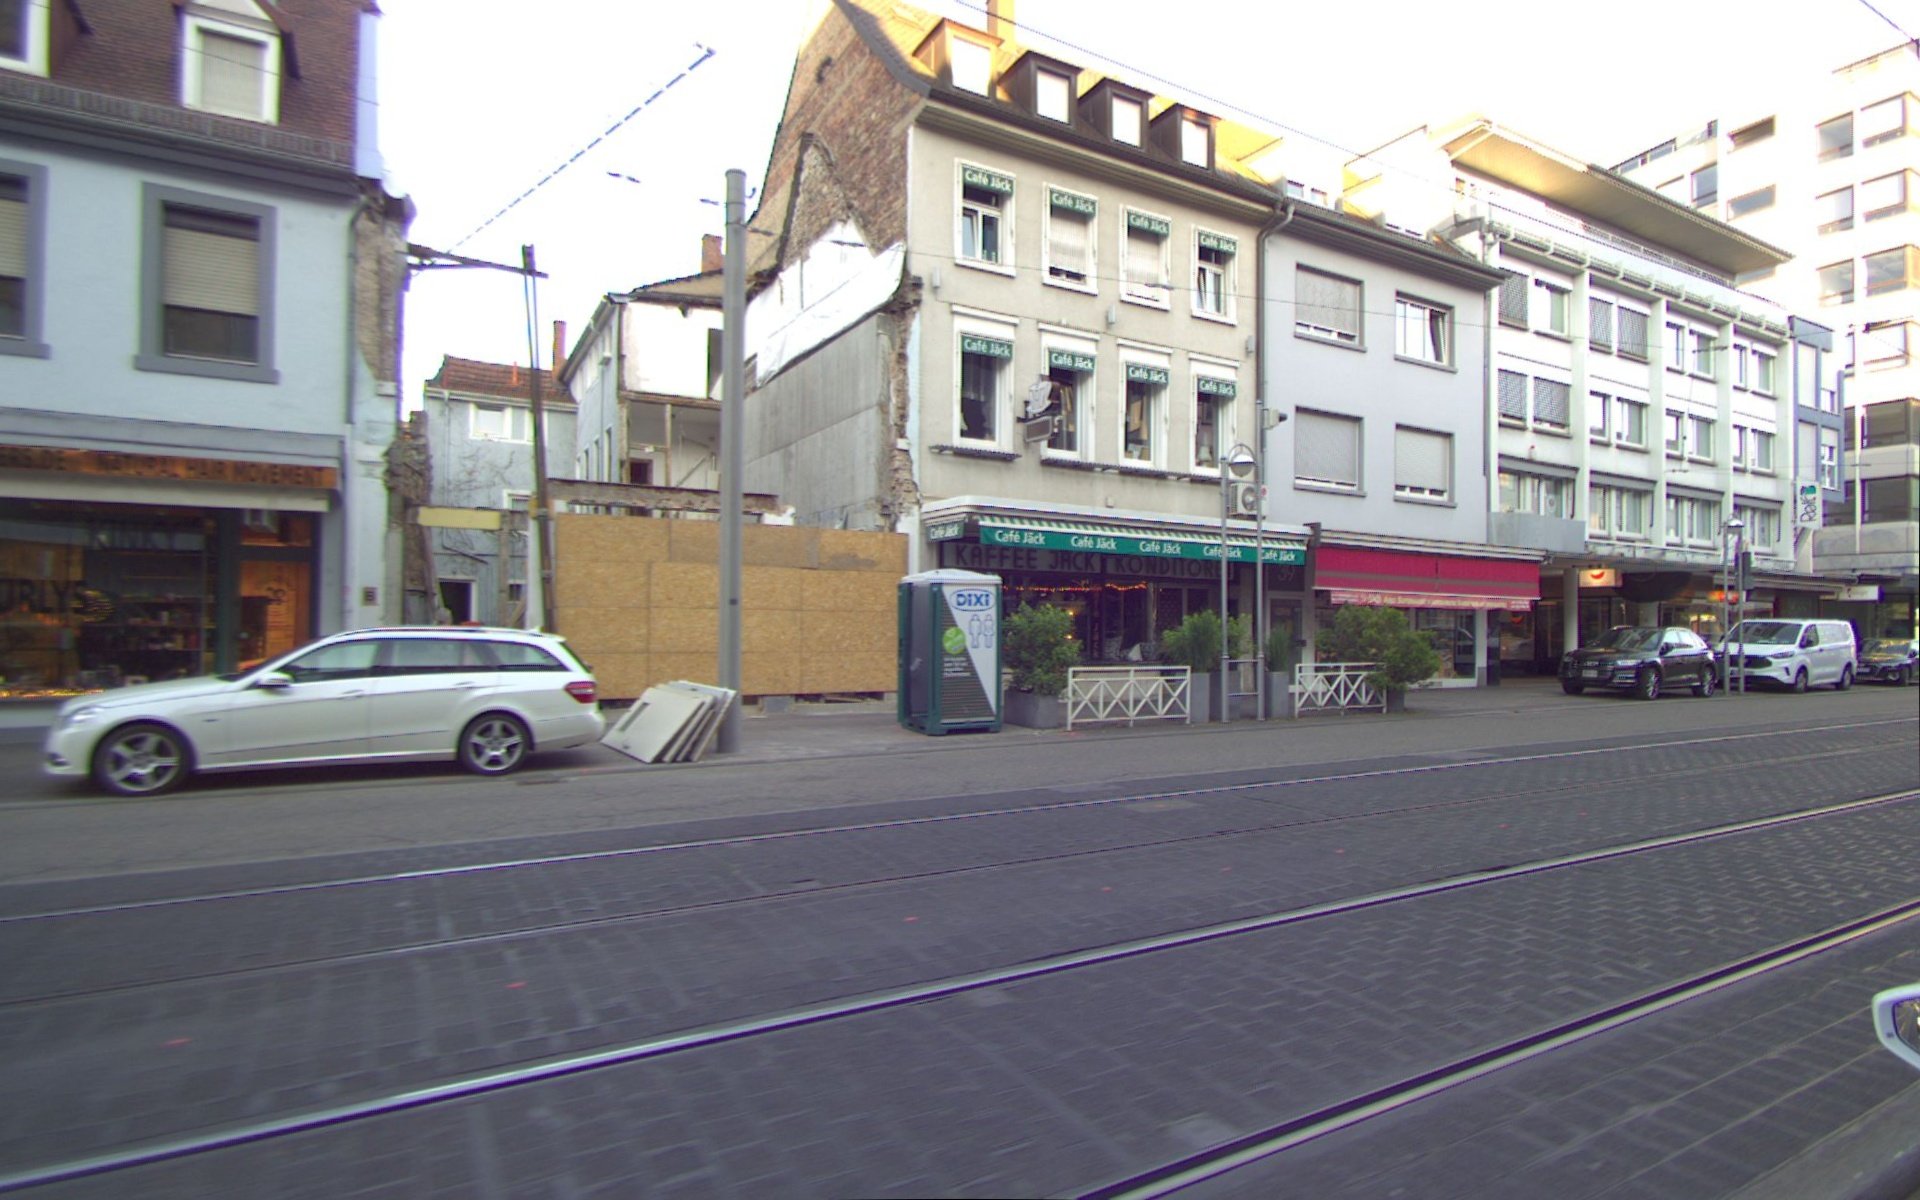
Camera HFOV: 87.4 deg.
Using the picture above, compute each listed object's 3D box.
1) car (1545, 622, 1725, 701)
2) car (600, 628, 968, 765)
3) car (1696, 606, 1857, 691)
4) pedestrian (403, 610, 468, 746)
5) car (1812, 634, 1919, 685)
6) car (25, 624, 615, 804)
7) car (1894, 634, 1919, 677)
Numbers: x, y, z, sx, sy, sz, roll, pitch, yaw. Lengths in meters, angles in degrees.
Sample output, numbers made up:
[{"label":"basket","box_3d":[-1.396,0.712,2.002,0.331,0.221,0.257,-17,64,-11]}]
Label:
[{"label":"car","box_3d":[16.286,1.425,24.192,4.412,1.700,1.851,1,0,-30]},{"label":"car","box_3d":[-2.239,1.124,12.975,4.277,1.472,1.985,1,-1,-29]},{"label":"car","box_3d":[22.922,1.328,28.155,4.854,2.185,1.984,1,-1,-31]},{"label":"pedestrian","box_3d":[-6.669,0.967,12.770,0.686,1.666,0.659,1,-1,-30]},{"label":"car","box_3d":[29.129,1.835,31.854,4.196,1.454,1.919,1,0,-30]},{"label":"car","box_3d":[-6.271,1.034,10.515,4.763,1.472,1.985,1,0,-29]},{"label":"car","box_3d":[34.870,1.958,35.277,4.196,1.454,1.919,1,0,-30]}]
